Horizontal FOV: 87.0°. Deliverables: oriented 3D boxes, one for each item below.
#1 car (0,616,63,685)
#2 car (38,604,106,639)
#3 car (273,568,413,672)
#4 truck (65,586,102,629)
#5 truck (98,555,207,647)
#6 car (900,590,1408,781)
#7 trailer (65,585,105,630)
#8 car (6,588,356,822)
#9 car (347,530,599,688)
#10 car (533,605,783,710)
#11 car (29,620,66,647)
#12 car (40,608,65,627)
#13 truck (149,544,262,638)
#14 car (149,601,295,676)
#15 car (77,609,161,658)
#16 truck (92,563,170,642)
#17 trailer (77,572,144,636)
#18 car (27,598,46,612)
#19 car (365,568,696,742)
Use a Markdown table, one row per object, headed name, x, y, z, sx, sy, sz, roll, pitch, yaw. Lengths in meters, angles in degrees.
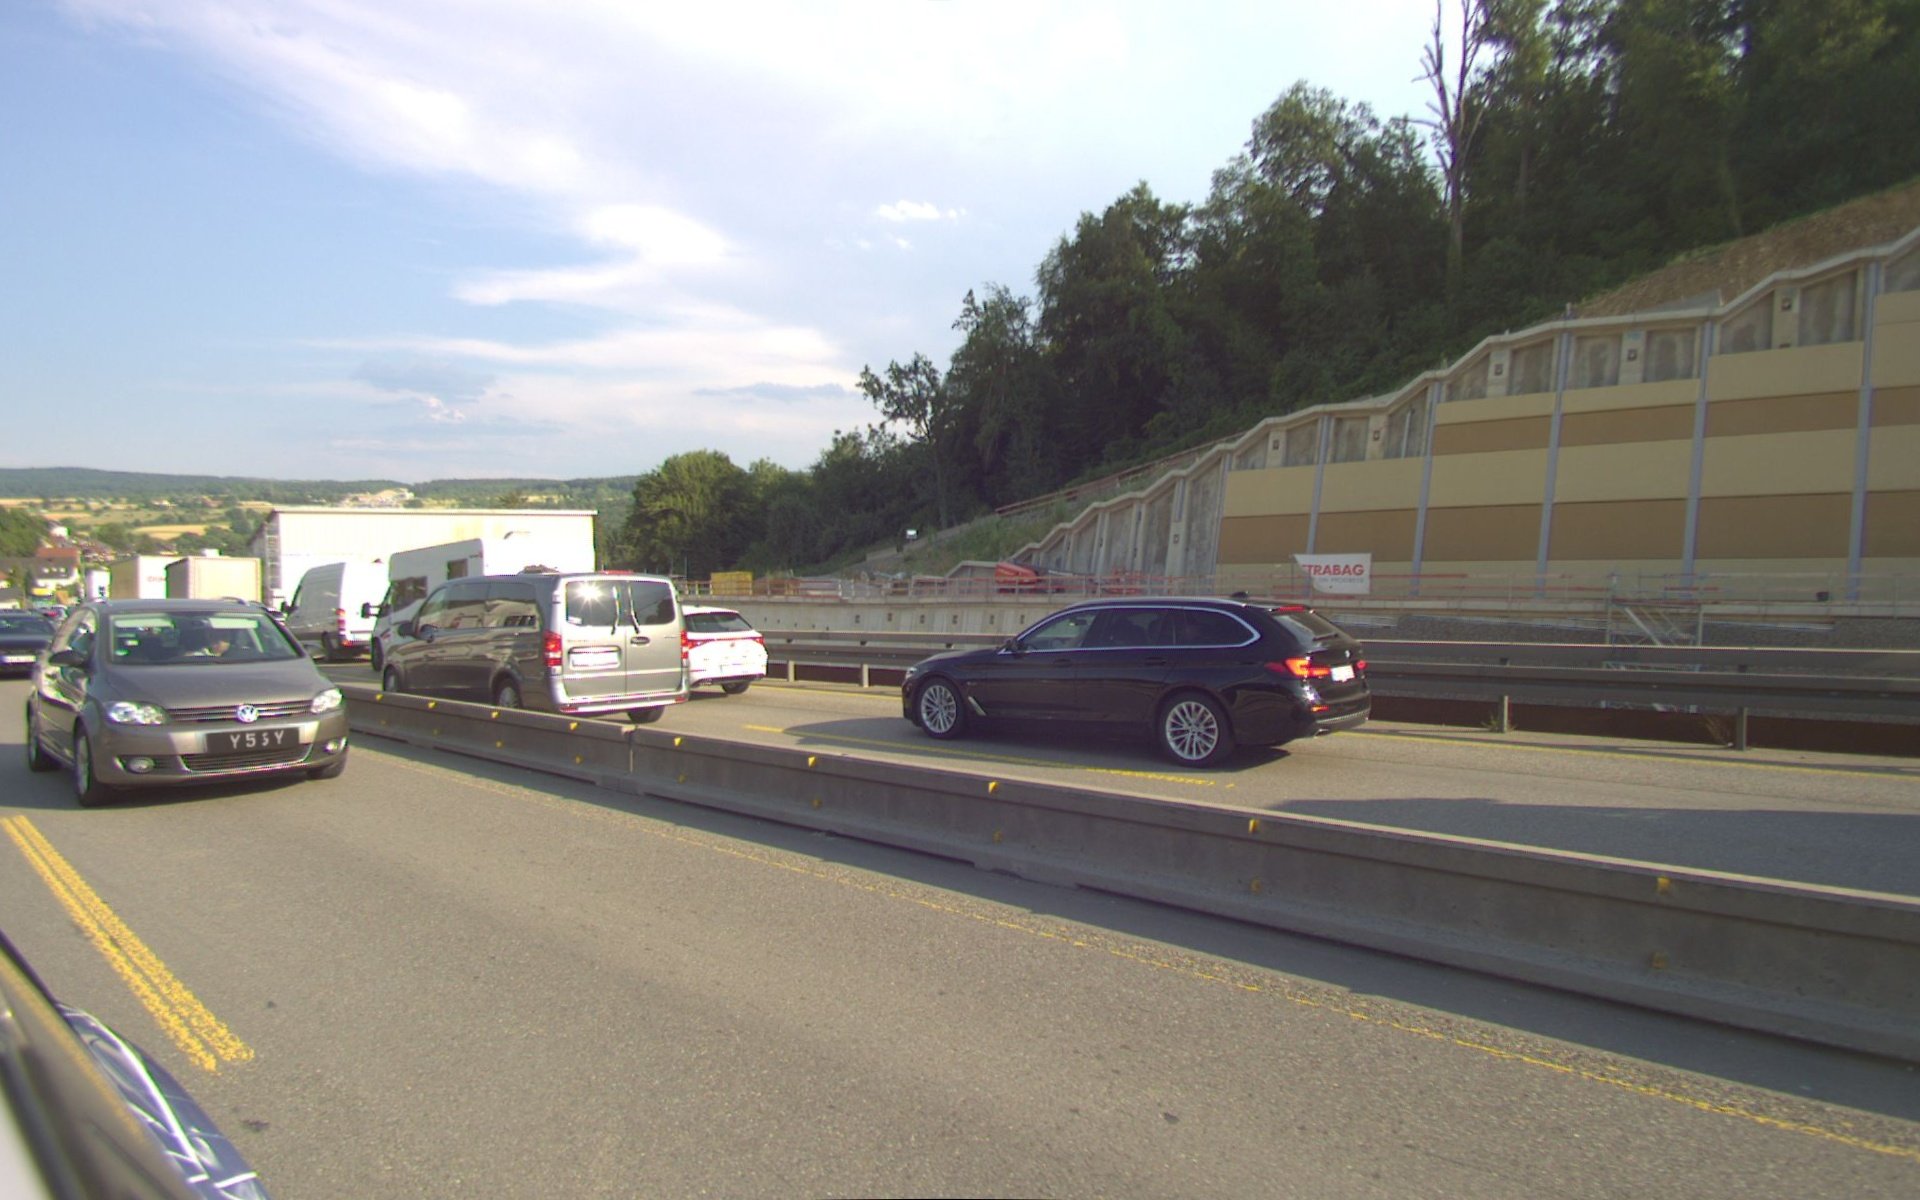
| name | x | y | z | sx | sy | sz | roll | pitch | yaw |
| --- | --- | --- | --- | --- | --- | --- | --- | --- | --- |
| car | -21.442 | 1.082 | 22.673 | 1.840 | 1.409 | 4.003 | 1 | -1 | -44 |
| car | -40.530 | 1.023 | 46.158 | 2.034 | 1.498 | 4.729 | 3 | -4 | -44 |
| car | -17.365 | 0.514 | 28.343 | 5.750 | 2.640 | 1.935 | 0 | -1 | 44 |
| truck | -84.170 | 0.723 | 97.134 | 2.568 | 3.917 | 6.210 | 0 | 0 | -42 |
| truck | -41.109 | 0.107 | 51.253 | 14.160 | 4.119 | 2.677 | -1 | -1 | 45 |
| car | 1.690 | 0.697 | 10.017 | 4.711 | 1.471 | 1.725 | -1 | -1 | 41 |
| trailer | -80.886 | 0.685 | 93.507 | 2.566 | 3.910 | 10.589 | 0 | 0 | -42 |
| car | -6.951 | 0.722 | 8.872 | 4.098 | 1.585 | 1.666 | -1 | 0 | 41 |
| car | -10.920 | 0.183 | 22.263 | 7.631 | 2.940 | 2.309 | 0 | -1 | 42 |
| car | -4.996 | 0.822 | 16.380 | 4.608 | 1.433 | 1.730 | -1 | 1 | 42 |
| car | -56.747 | 2.059 | 62.988 | 1.634 | 1.535 | 4.293 | -1 | 0 | -41 |
| car | -93.414 | 1.756 | 104.165 | 1.840 | 1.925 | 4.004 | 1 | -1 | -43 |
| truck | -30.673 | -0.301 | 41.008 | 7.618 | 3.489 | 2.420 | -1 | 0 | 43 |
| car | -17.294 | 0.912 | 23.632 | 4.754 | 1.591 | 1.798 | -2 | -3 | 42 |
| car | -29.324 | 1.166 | 35.243 | 4.001 | 1.533 | 1.762 | -2 | 0 | 44 |
| truck | -45.953 | 0.151 | 56.059 | 6.104 | 4.119 | 2.682 | -1 | -1 | 45 |
| trailer | -59.004 | 0.277 | 70.124 | 2.824 | 4.066 | 13.984 | 0 | 0 | -43 |
| car | -142.967 | 0.811 | 156.658 | 4.754 | 2.015 | 1.798 | -2 | -3 | 42 |
| car | -5.683 | 0.647 | 12.924 | 5.452 | 1.785 | 1.785 | -3 | -1 | 43 |
